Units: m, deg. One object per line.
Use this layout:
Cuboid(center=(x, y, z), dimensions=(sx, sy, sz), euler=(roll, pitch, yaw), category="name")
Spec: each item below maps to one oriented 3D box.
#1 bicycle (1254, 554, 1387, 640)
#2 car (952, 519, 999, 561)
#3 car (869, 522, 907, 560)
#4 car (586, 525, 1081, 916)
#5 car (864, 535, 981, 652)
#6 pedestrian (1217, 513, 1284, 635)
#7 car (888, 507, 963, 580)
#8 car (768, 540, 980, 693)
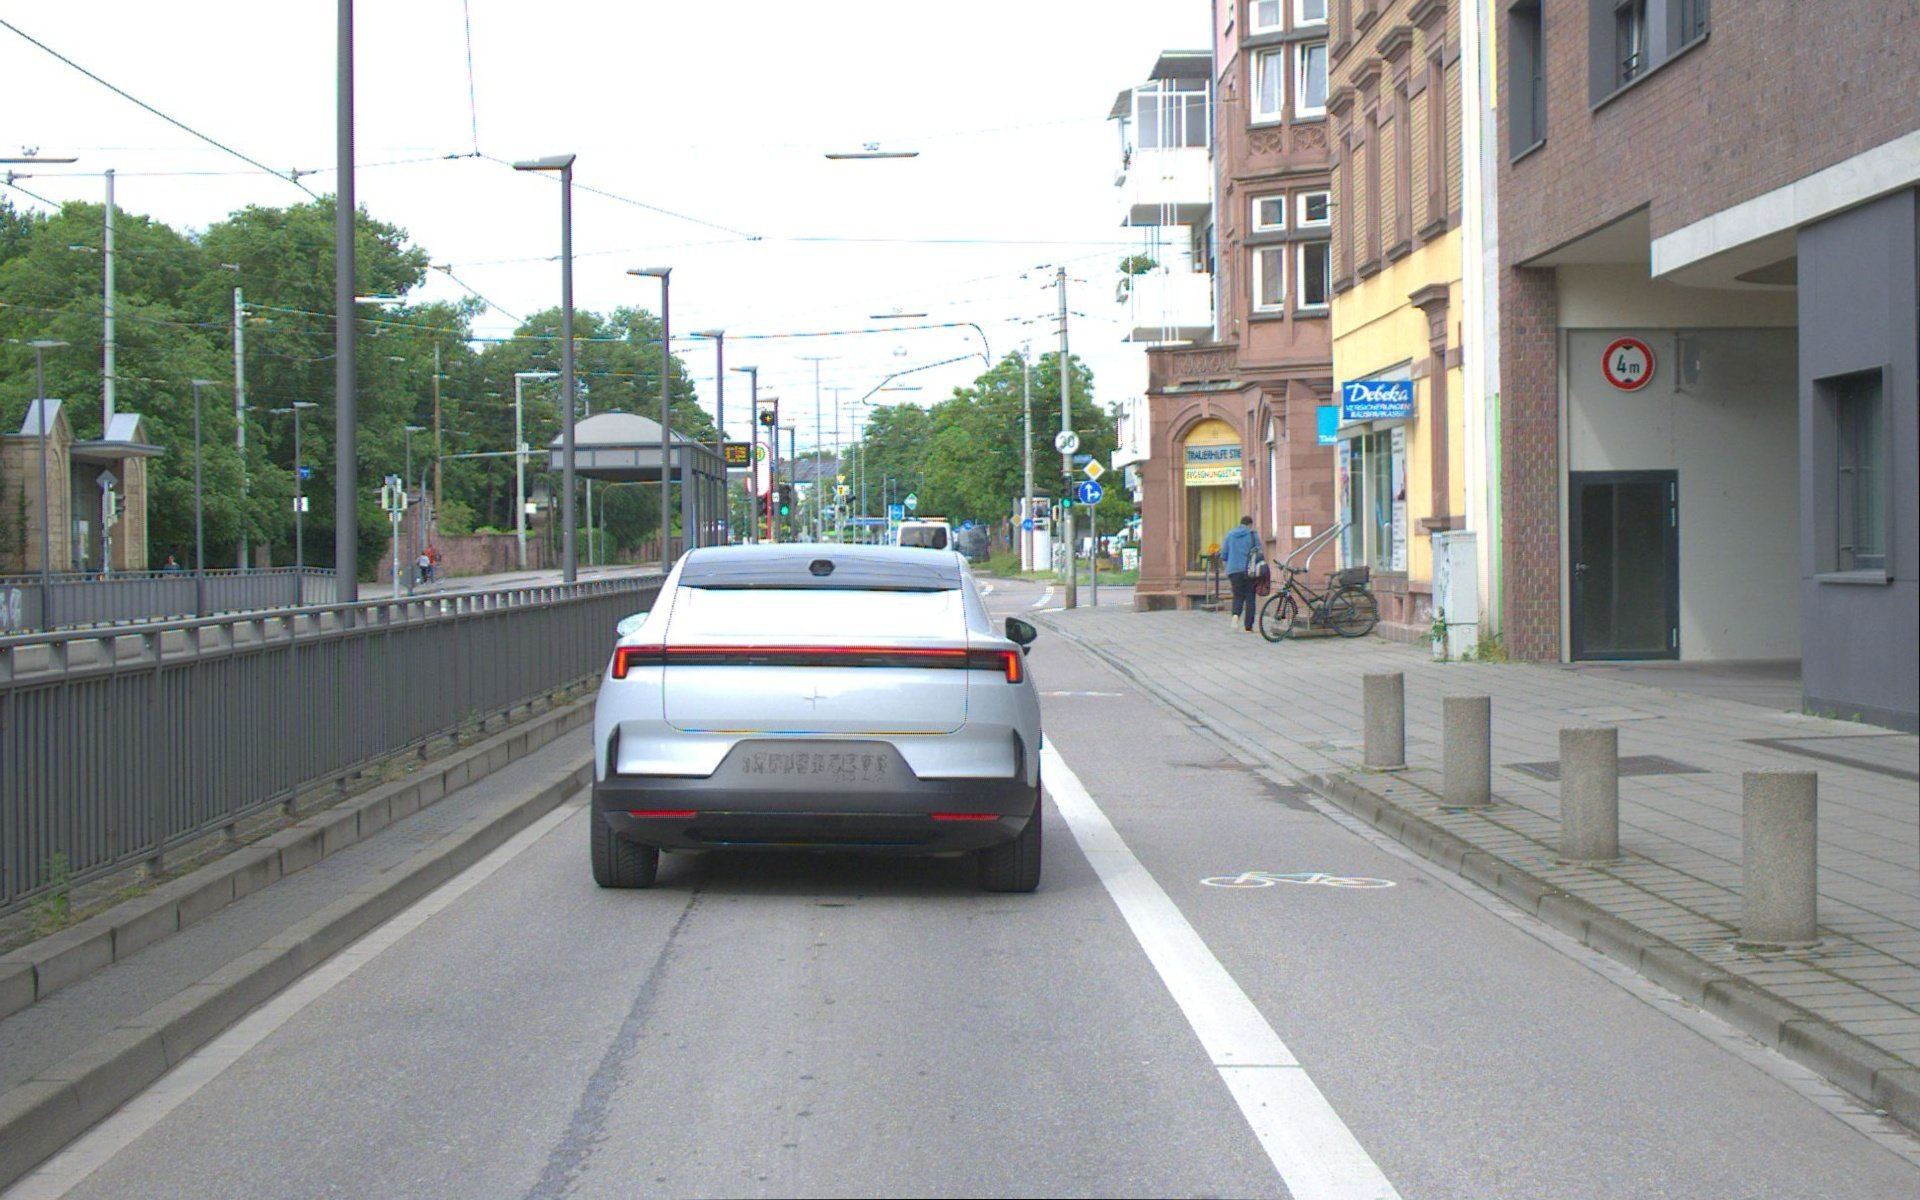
Cuboid(center=(5.145, -0.047, 49.145), dimensions=(1.777, 1.126, 0.642), euler=(-3, 1, -1), category="bicycle")
Cuboid(center=(0.919, -3.617, 208.454), dimensions=(2.807, 2.496, 5.723), euler=(0, 1, -1), category="car")
Cuboid(center=(-3.843, -3.156, 183.100), dimensions=(1.993, 2.007, 4.000), euler=(0, 1, -1), category="car")
Cuboid(center=(-0.684, 0.479, 15.924), dimensions=(1.999, 1.575, 4.001), euler=(0, 0, -5), category="car")
Cuboid(center=(-0.552, -0.112, 51.239), dimensions=(1.681, 1.682, 3.824), euler=(0, 1, 0), category="car")
Cuboid(center=(4.581, -0.415, 54.192), dimensions=(0.961, 1.843, 0.975), euler=(-3, 2, 6), category="pedestrian")
Cuboid(center=(-1.196, -1.893, 116.036), dimensions=(2.225, 2.394, 5.124), euler=(0, 1, -4), category="car")
Cuboid(center=(-0.884, 0.123, 34.798), dimensions=(1.993, 1.415, 4.000), euler=(-1, 1, -2), category="car")
